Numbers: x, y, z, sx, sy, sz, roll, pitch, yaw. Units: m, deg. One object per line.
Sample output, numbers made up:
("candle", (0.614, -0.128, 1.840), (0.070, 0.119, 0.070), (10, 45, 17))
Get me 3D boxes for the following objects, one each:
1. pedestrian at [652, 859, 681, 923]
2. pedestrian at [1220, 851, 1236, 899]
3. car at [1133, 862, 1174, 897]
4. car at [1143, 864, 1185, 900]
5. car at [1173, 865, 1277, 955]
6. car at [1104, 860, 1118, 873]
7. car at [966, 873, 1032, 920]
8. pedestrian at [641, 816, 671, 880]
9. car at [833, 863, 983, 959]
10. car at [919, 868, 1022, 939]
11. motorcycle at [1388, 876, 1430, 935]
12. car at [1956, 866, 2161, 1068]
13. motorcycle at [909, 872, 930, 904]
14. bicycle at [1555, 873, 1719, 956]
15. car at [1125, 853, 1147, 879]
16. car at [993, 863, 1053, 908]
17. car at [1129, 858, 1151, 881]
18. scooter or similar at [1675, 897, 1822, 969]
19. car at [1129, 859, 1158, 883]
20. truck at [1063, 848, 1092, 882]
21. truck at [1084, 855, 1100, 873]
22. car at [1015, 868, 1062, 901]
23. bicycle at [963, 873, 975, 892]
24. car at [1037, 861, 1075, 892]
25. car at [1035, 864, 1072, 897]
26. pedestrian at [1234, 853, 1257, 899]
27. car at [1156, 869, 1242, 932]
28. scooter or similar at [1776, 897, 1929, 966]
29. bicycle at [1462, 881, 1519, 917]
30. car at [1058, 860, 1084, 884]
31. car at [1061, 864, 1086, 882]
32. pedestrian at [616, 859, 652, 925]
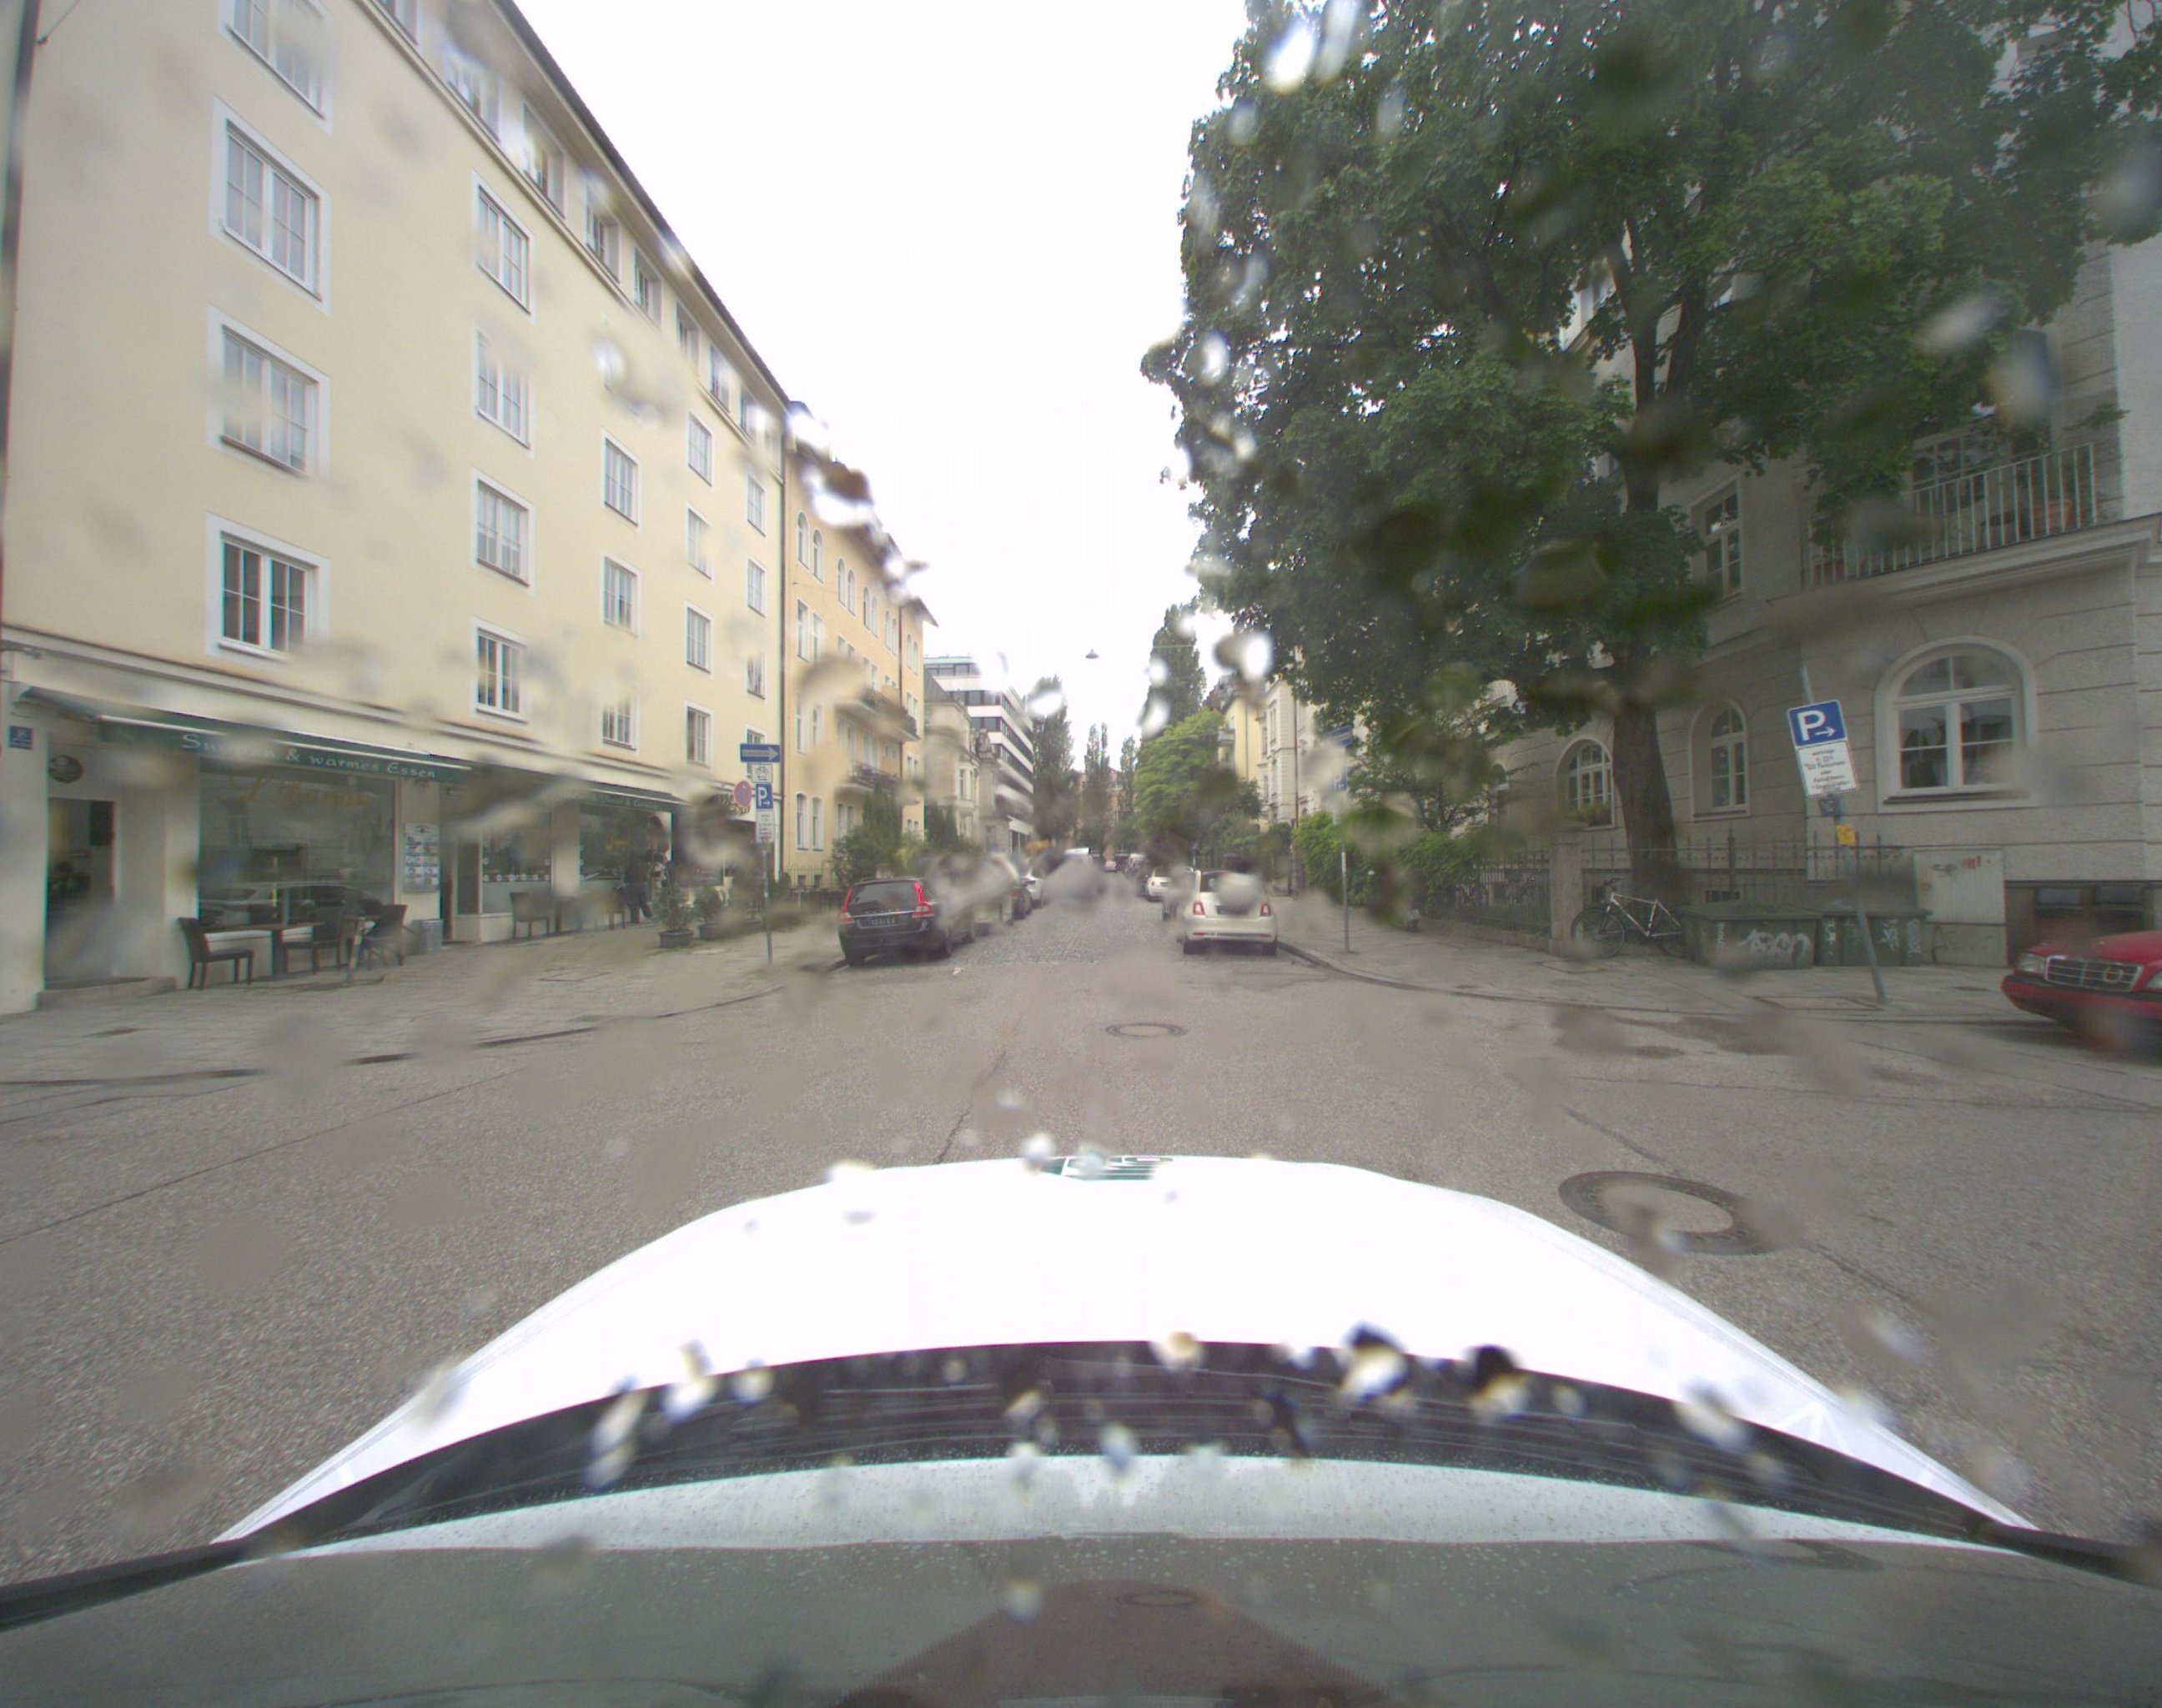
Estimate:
("pedestrian", (-11.093, 0.973, 21.793), (0.459, 1.690, 0.574), (-1, -1, 2))
("pedestrian", (5.837, 0.831, 32.321), (0.572, 1.850, 0.683), (-1, -1, 10))
("car", (3.640, 1.261, 41.427), (1.867, 1.673, 5.494), (-1, -1, 3))
("car", (3.618, 1.193, 35.971), (1.624, 1.469, 3.661), (1, -1, 2))
("car", (2.628, 0.977, 15.556), (1.495, 1.471, 3.798), (-1, -1, 3))
("car", (4.655, 1.907, 126.334), (1.988, 1.936, 4.004), (-1, -1, 4))
("car", (-2.541, 1.306, 26.171), (1.769, 1.359, 4.387), (0, -1, -2))
("pedestrian", (-11.032, -0.149, 21.149), (0.475, 1.642, 0.498), (-1, -1, 6))
("car", (-3.164, 0.992, 15.914), (1.845, 1.586, 4.748), (0, -1, 1))
("car", (-2.687, 1.169, 20.821), (1.767, 1.536, 4.542), (-3, -1, 2))
("motorcycle", (6.447, 0.989, 16.050), (0.360, 1.090, 1.405), (-1, -1, 5))
("car", (9.740, 0.753, 5.923), (4.440, 1.358, 1.765), (-1, -1, 9))
("motorcycle", (-6.416, 1.345, 32.404), (0.489, 1.194, 1.580), (-1, -1, 2))
("bicycle", (7.830, 0.850, 11.533), (1.825, 1.124, 0.564), (-1, -1, 12))
("car", (5.397, 1.126, 80.419), (1.888, 2.426, 5.613), (3, 0, 2))
("car", (-2.195, 1.187, 32.075), (1.766, 1.648, 4.394), (0, -1, 3))
("car", (5.406, 1.409, 74.856), (1.793, 1.950, 4.861), (2, -1, 2))
("scooter or similar", (8.624, 1.000, 10.586), (1.175, 0.848, 0.927), (-1, -1, 12))
("car", (4.691, 1.278, 61.699), (1.956, 1.759, 4.955), (0, -1, 2))
("truck", (-0.318, 1.075, 79.268), (2.499, 3.032, 6.386), (-3, 0, 1))
("truck", (1.422, 1.380, 108.111), (1.986, 2.347, 4.070), (-1, -1, 2))
("car", (-1.940, 1.383, 37.999), (1.766, 1.429, 4.393), (-1, -1, 2))
("bicycle", (-6.018, 1.538, 43.735), (0.350, 1.003, 1.574), (-1, -1, 4))
("car", (-1.470, 1.320, 49.476), (1.975, 1.737, 4.723), (-1, 0, 1))
("car", (-1.438, 1.388, 43.334), (1.573, 1.590, 4.058), (-3, -1, 3))
("pedestrian", (6.600, 0.865, 32.676), (0.630, 1.808, 0.655), (0, -2, -21))
("car", (2.993, 1.142, 21.480), (1.642, 1.422, 4.633), (3, -1, 1))
("scooter or similar", (9.845, 0.976, 10.438), (1.229, 0.826, 0.699), (-1, -1, 11))
("bicycle", (10.047, 1.079, 20.068), (0.489, 0.812, 2.277), (-1, -1, 7))
("car", (-0.752, 1.370, 62.671), (1.767, 1.718, 4.392), (0, -1, 1))
("car", (-0.630, 1.553, 68.028), (1.933, 1.459, 4.058), (0, -1, 1))
("pedestrian", (-11.172, 0.941, 20.366), (0.520, 1.642, 0.630), (0, -1, 2))
